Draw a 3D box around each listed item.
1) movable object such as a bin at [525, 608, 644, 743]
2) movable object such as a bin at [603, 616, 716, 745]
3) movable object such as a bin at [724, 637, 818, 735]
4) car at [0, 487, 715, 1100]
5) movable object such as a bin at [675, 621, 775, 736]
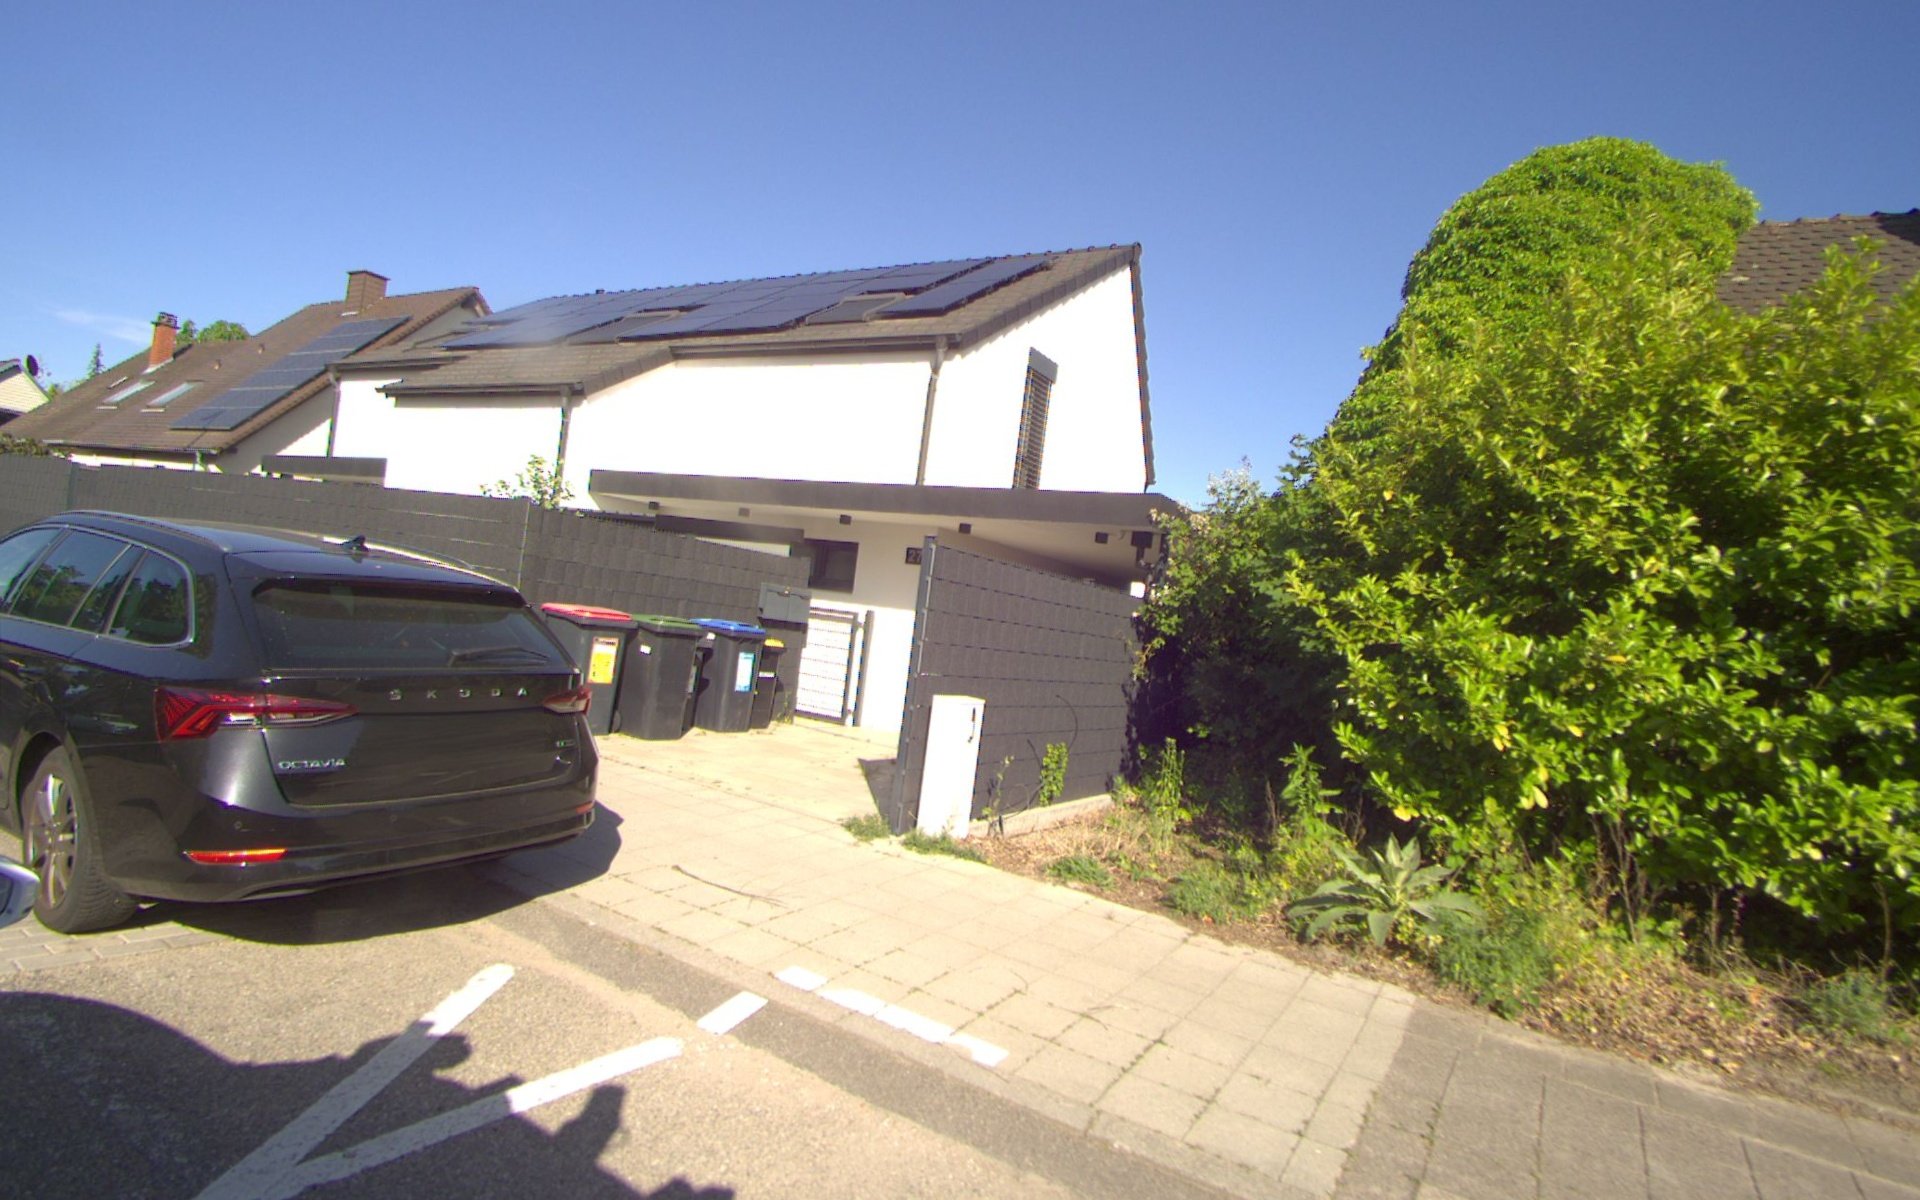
[{"bbox_3d":[-3.216,0.633,8.624,0.693,1.053,0.594,5,1,33],"label":"movable object such as a bin"},{"bbox_3d":[-2.689,0.704,8.999,0.693,1.053,0.594,5,1,33],"label":"movable object such as a bin"},{"bbox_3d":[-1.988,0.890,10.594,0.693,0.938,0.594,5,1,33],"label":"movable object such as a bin"},{"bbox_3d":[-3.606,0.362,4.723,4.909,1.499,1.766,8,2,32],"label":"car"},{"bbox_3d":[-2.348,0.775,10.074,0.693,1.053,0.594,5,1,33],"label":"movable object such as a bin"}]
